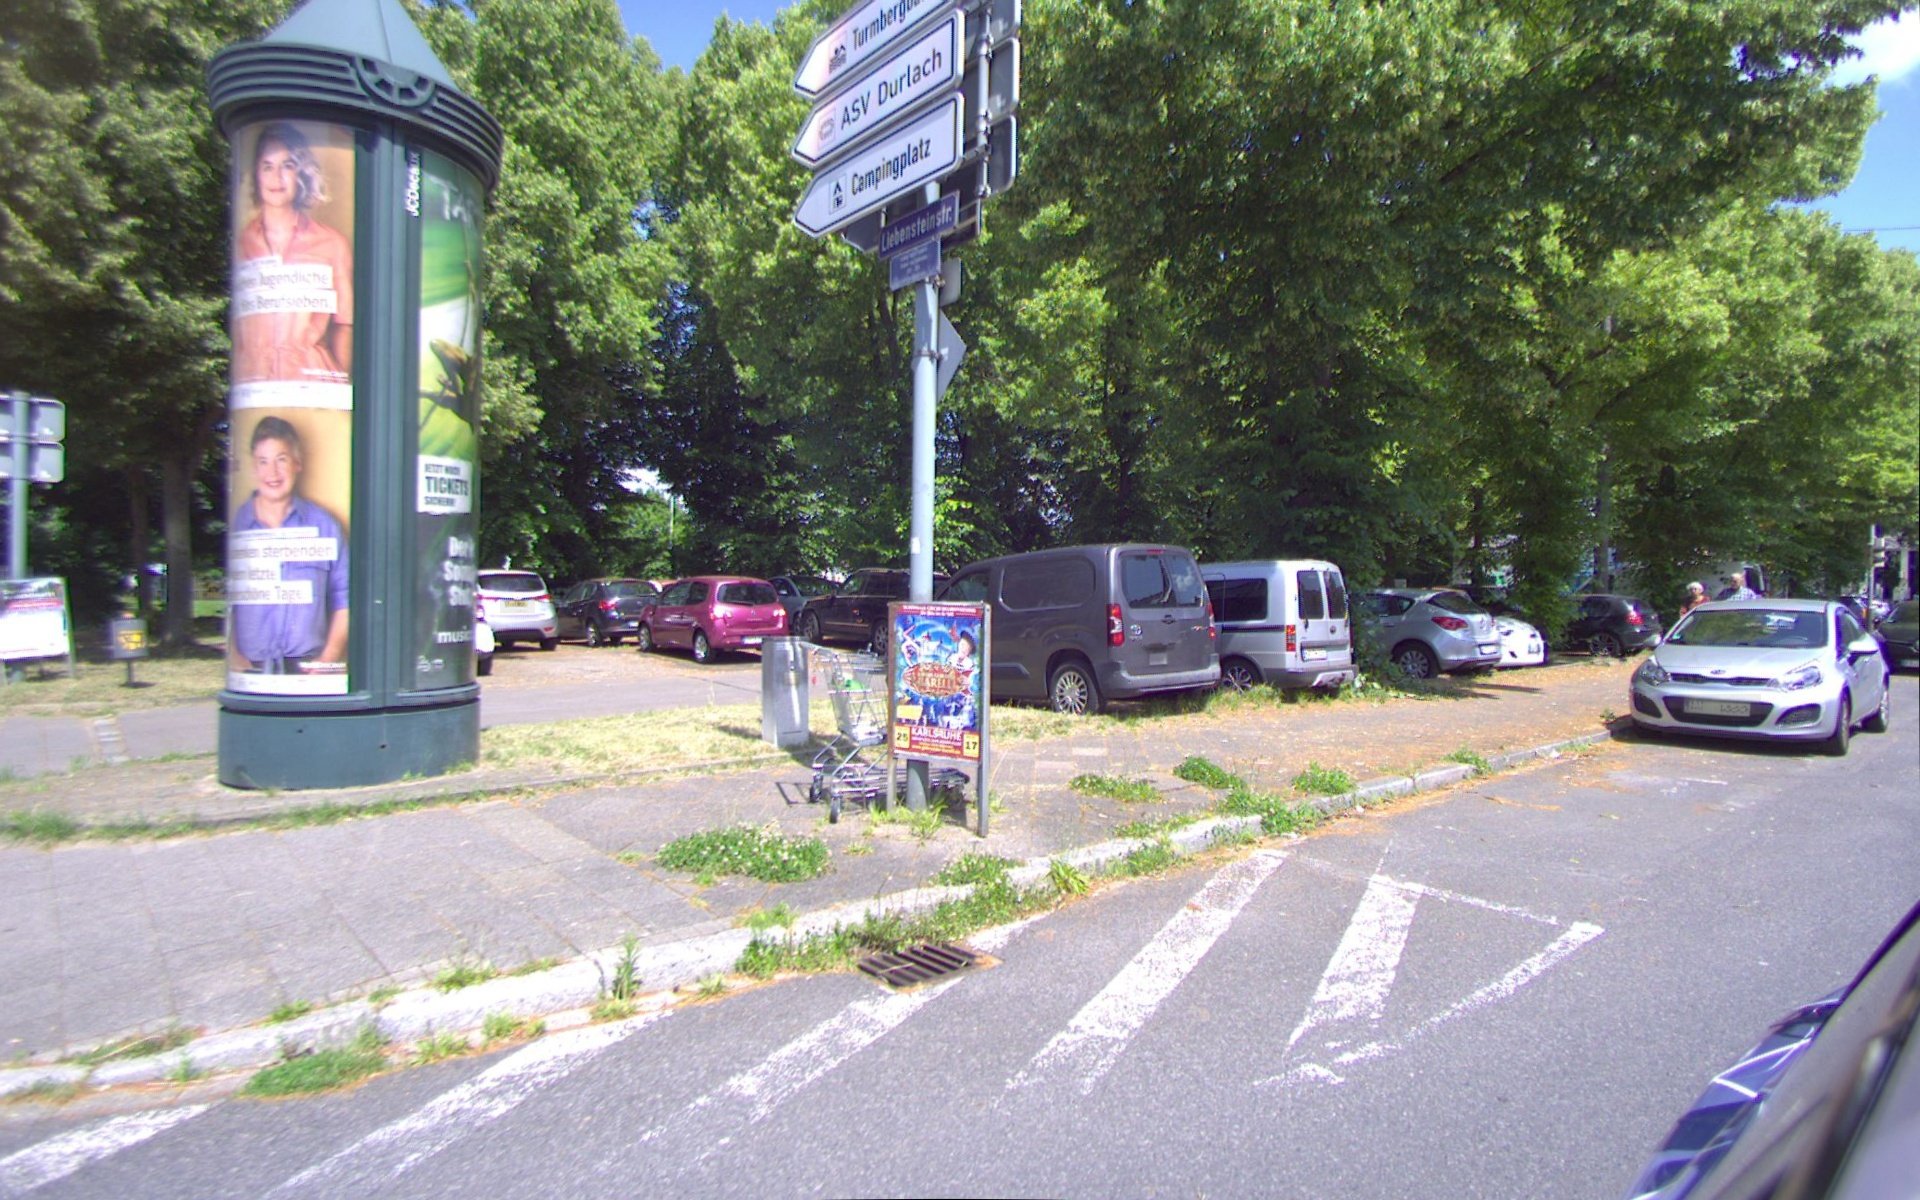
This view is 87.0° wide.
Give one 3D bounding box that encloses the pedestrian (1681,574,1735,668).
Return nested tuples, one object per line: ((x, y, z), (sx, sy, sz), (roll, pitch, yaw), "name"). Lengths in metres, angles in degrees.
((13.188, 0.361, 17.833), (0.724, 1.613, 0.618), (0, 0, -41), "pedestrian")

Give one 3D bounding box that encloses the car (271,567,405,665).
((-11.248, 0.219, 18.227), (1.564, 1.573, 3.068), (-1, 2, -42), "car")

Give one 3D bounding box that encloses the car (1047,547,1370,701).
((3.084, 0.219, 13.056), (1.636, 1.688, 3.766), (0, 1, -44), "car")

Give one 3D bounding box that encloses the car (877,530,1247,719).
((1.011, 0.211, 11.635), (1.981, 1.773, 3.994), (-1, 1, -40), "car")

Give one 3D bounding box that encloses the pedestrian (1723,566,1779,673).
((13.576, 0.325, 17.372), (0.724, 1.786, 0.618), (0, 0, -41), "pedestrian")

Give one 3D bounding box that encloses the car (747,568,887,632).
((-3.642, -0.062, 25.354), (1.708, 1.477, 3.804), (0, 2, -41), "car")

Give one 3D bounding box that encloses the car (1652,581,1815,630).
((25.735, 0.197, 33.796), (1.608, 1.513, 4.073), (-1, -1, -41), "car")

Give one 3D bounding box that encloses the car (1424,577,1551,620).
((21.580, -0.083, 41.547), (1.787, 1.607, 4.260), (0, 2, -41), "car")

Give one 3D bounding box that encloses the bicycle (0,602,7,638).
((-22.780, 0.588, 22.658), (1.882, 0.813, 0.707), (-9, 4, -20), "bicycle")

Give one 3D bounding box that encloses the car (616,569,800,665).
((-4.749, 0.223, 18.743), (1.652, 1.547, 3.994), (-1, 2, -42), "car")

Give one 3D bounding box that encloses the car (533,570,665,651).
((-7.851, 0.153, 21.867), (1.564, 1.573, 3.386), (-1, 2, -42), "car")

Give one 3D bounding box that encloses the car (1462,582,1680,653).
((14.078, 0.390, 23.504), (1.686, 1.492, 3.996), (-1, 0, -38), "car")

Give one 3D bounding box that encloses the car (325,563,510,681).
((-8.459, 0.232, 15.620), (1.652, 1.573, 3.994), (-1, 2, -42), "car")

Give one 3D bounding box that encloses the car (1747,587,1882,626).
((32.244, 0.223, 38.265), (3.833, 1.375, 1.605), (0, 0, 42), "car")

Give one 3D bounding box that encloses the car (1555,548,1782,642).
((19.017, -0.092, 27.350), (2.068, 2.305, 4.611), (0, -1, -39), "car")

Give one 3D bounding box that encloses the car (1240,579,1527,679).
((6.747, 0.403, 16.491), (1.774, 1.416, 3.999), (0, 0, -36), "car")

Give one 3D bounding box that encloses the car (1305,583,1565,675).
((8.581, 0.437, 18.556), (1.639, 1.446, 3.996), (0, 2, -39), "car")

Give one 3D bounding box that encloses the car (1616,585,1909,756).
((8.680, 0.600, 10.847), (3.823, 1.504, 1.770), (-1, 1, -41), "car")

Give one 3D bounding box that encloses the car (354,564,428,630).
((-15.821, -0.128, 28.262), (1.683, 1.688, 3.808), (-1, 1, -28), "car")

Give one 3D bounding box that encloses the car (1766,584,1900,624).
((35.019, 0.139, 40.693), (1.597, 1.555, 3.774), (0, 0, -29), "car")

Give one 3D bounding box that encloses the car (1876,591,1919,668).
((19.662, 0.555, 20.101), (3.929, 1.446, 1.666), (0, 1, -40), "car")

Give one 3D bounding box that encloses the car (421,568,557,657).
((-9.415, 0.181, 20.108), (1.564, 1.573, 3.386), (-1, 2, -42), "car")

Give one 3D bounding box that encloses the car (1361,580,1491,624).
((17.232, 0.024, 37.580), (1.772, 1.491, 3.998), (-1, 2, -38), "car")

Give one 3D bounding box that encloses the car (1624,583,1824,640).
((22.067, 0.343, 29.368), (1.777, 1.513, 4.331), (0, -1, -41), "car")

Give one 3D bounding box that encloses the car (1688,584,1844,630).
((28.139, 0.231, 35.436), (1.608, 1.512, 4.074), (-1, 0, -41), "car")

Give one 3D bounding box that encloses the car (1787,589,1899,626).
((40.731, 0.308, 46.731), (1.823, 1.546, 3.756), (0, 1, -43), "car")

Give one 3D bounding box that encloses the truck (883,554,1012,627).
((-0.414, -0.307, 28.655), (1.706, 1.905, 3.808), (0, 1, -38), "truck")

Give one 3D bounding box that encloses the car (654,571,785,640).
((-5.719, 0.127, 23.768), (1.658, 1.486, 3.913), (0, -1, -36), "car")

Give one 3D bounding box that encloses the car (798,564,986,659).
((-1.457, 0.147, 20.532), (1.673, 1.699, 3.992), (-1, 2, -43), "car")

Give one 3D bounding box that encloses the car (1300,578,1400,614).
((17.275, -0.219, 44.933), (1.706, 1.483, 3.809), (0, 2, -37), "car")

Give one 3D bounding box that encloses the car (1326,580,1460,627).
((15.210, 0.069, 35.702), (1.772, 1.491, 3.998), (-1, 2, -38), "car")
